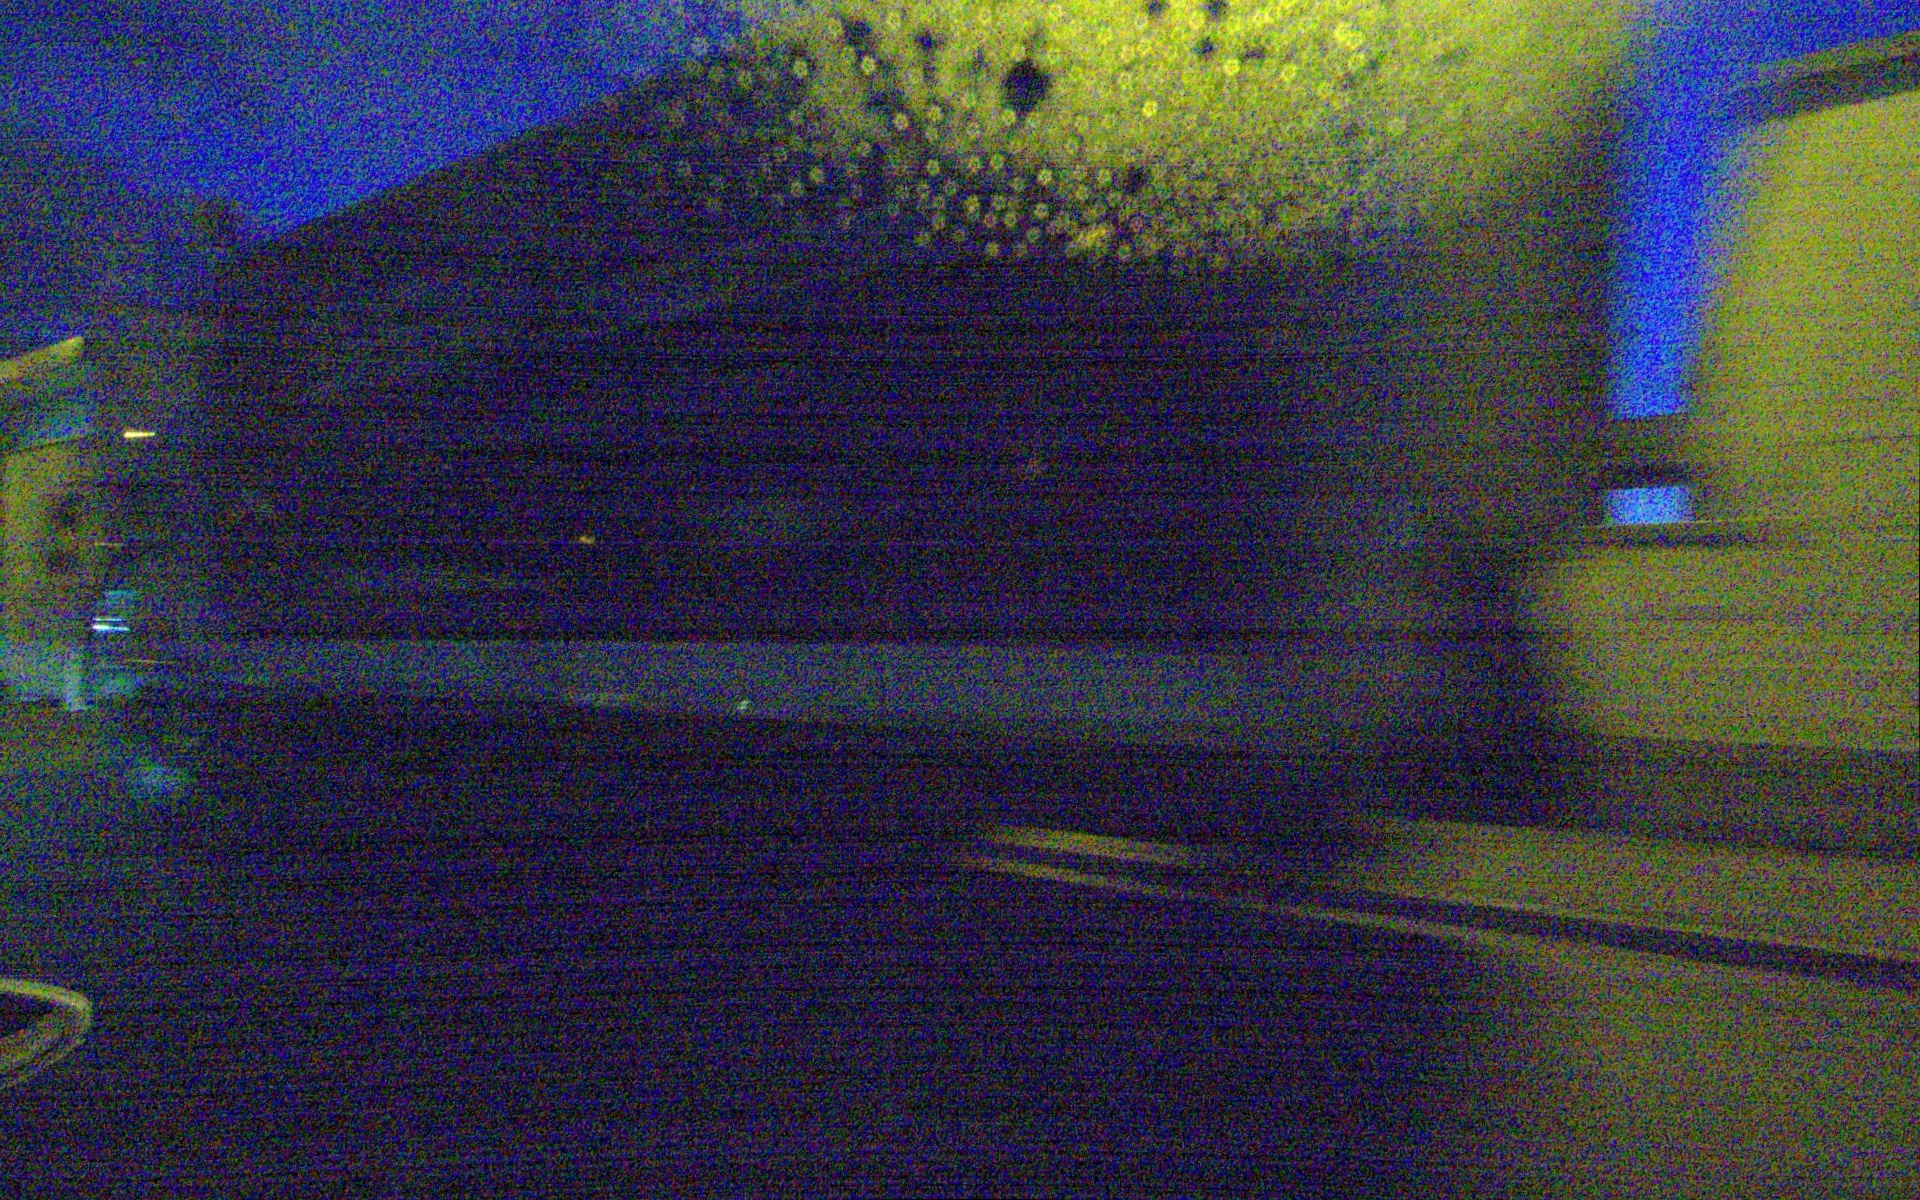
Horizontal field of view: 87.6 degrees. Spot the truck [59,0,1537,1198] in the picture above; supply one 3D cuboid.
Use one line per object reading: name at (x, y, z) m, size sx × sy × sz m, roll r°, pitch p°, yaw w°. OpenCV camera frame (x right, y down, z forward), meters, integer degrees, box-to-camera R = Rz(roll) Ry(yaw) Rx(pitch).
truck at (-2.251, -0.443, 6.447) m, size 10.198 × 4.034 × 2.824 m, roll -1°, pitch -1°, yaw 34°
